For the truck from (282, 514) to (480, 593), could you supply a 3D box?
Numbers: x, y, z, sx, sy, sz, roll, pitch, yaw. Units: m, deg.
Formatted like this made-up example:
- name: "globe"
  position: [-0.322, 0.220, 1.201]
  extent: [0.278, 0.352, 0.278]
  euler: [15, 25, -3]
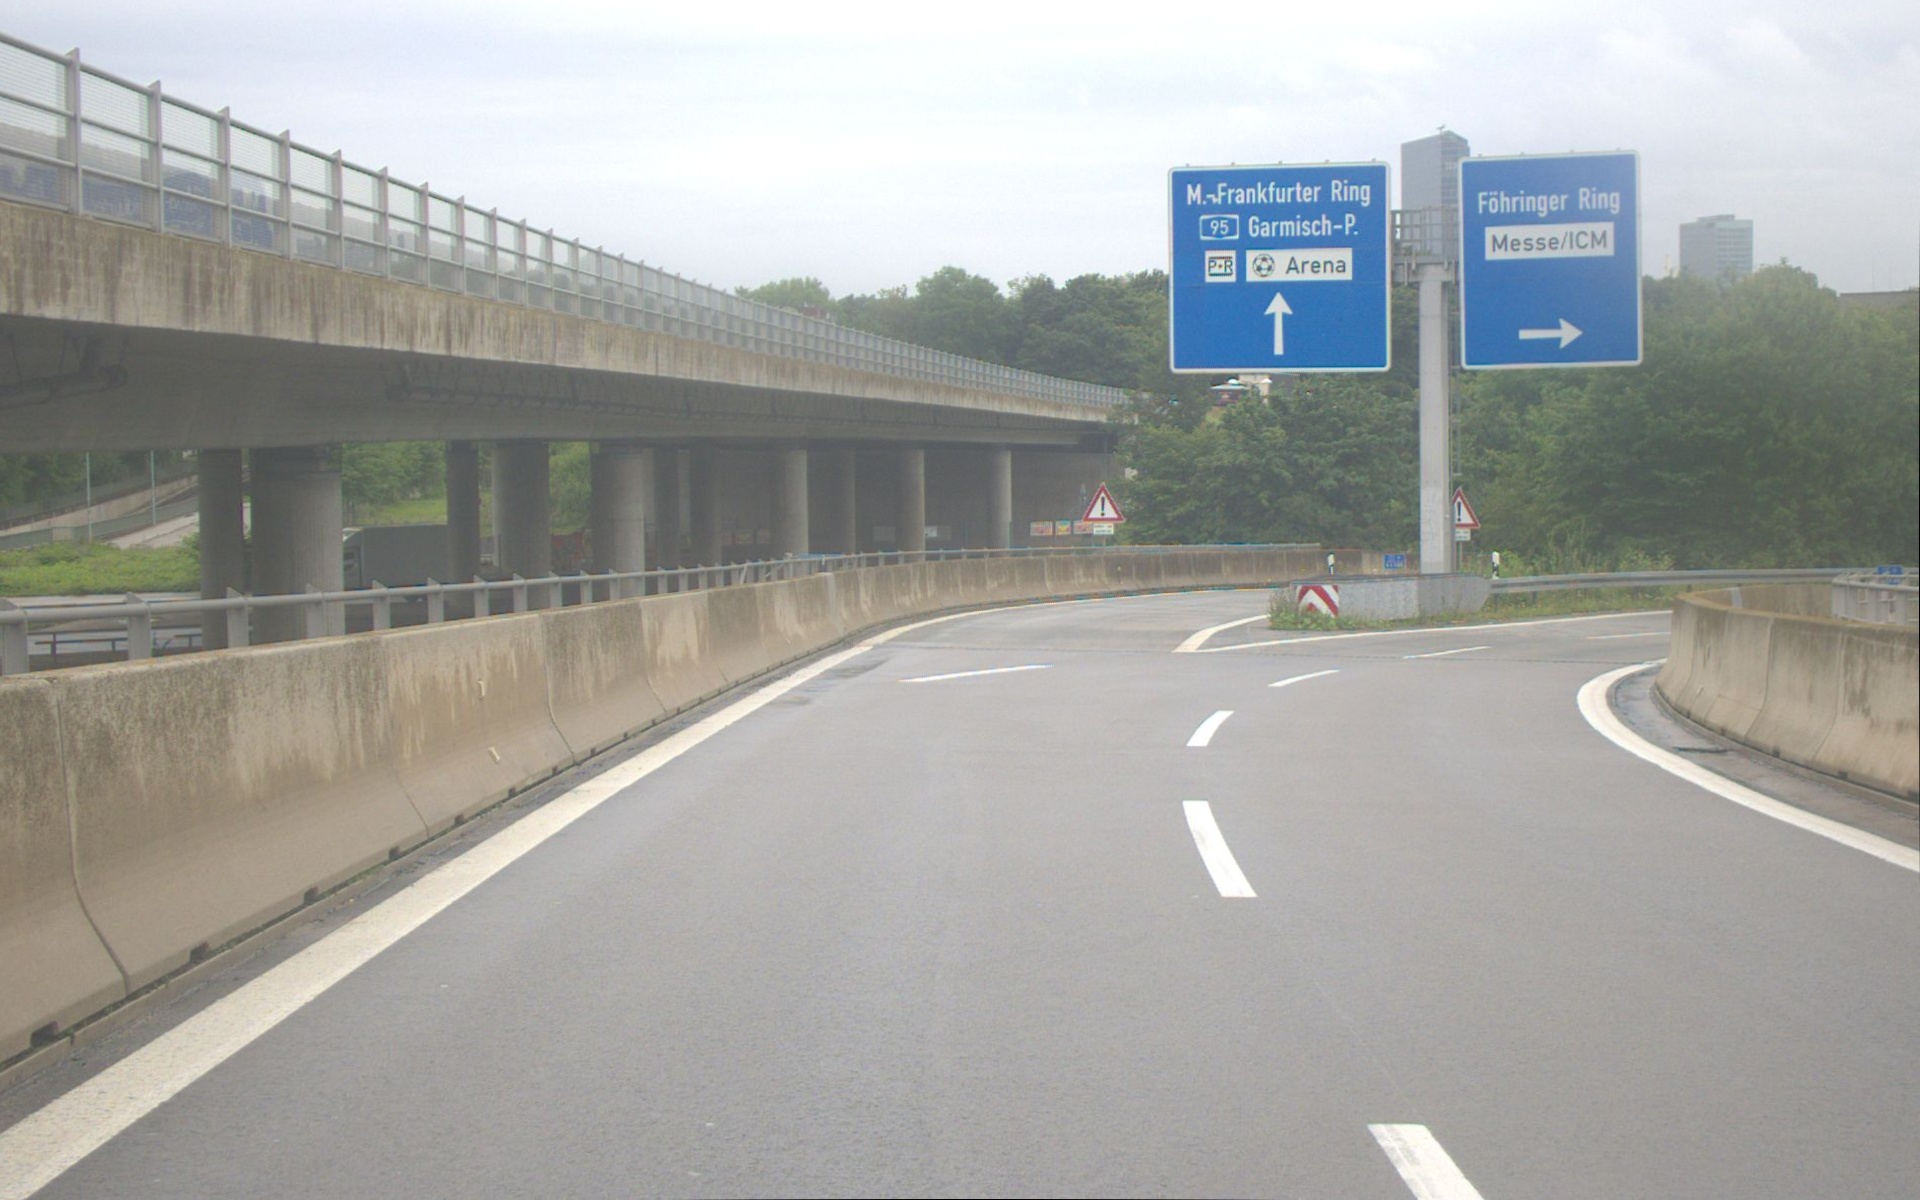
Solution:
- name: "truck"
  position: [-22.339, -1.783, 132.845]
  extent: [7.209, 2.967, 2.260]
  euler: [0, 1, -32]
